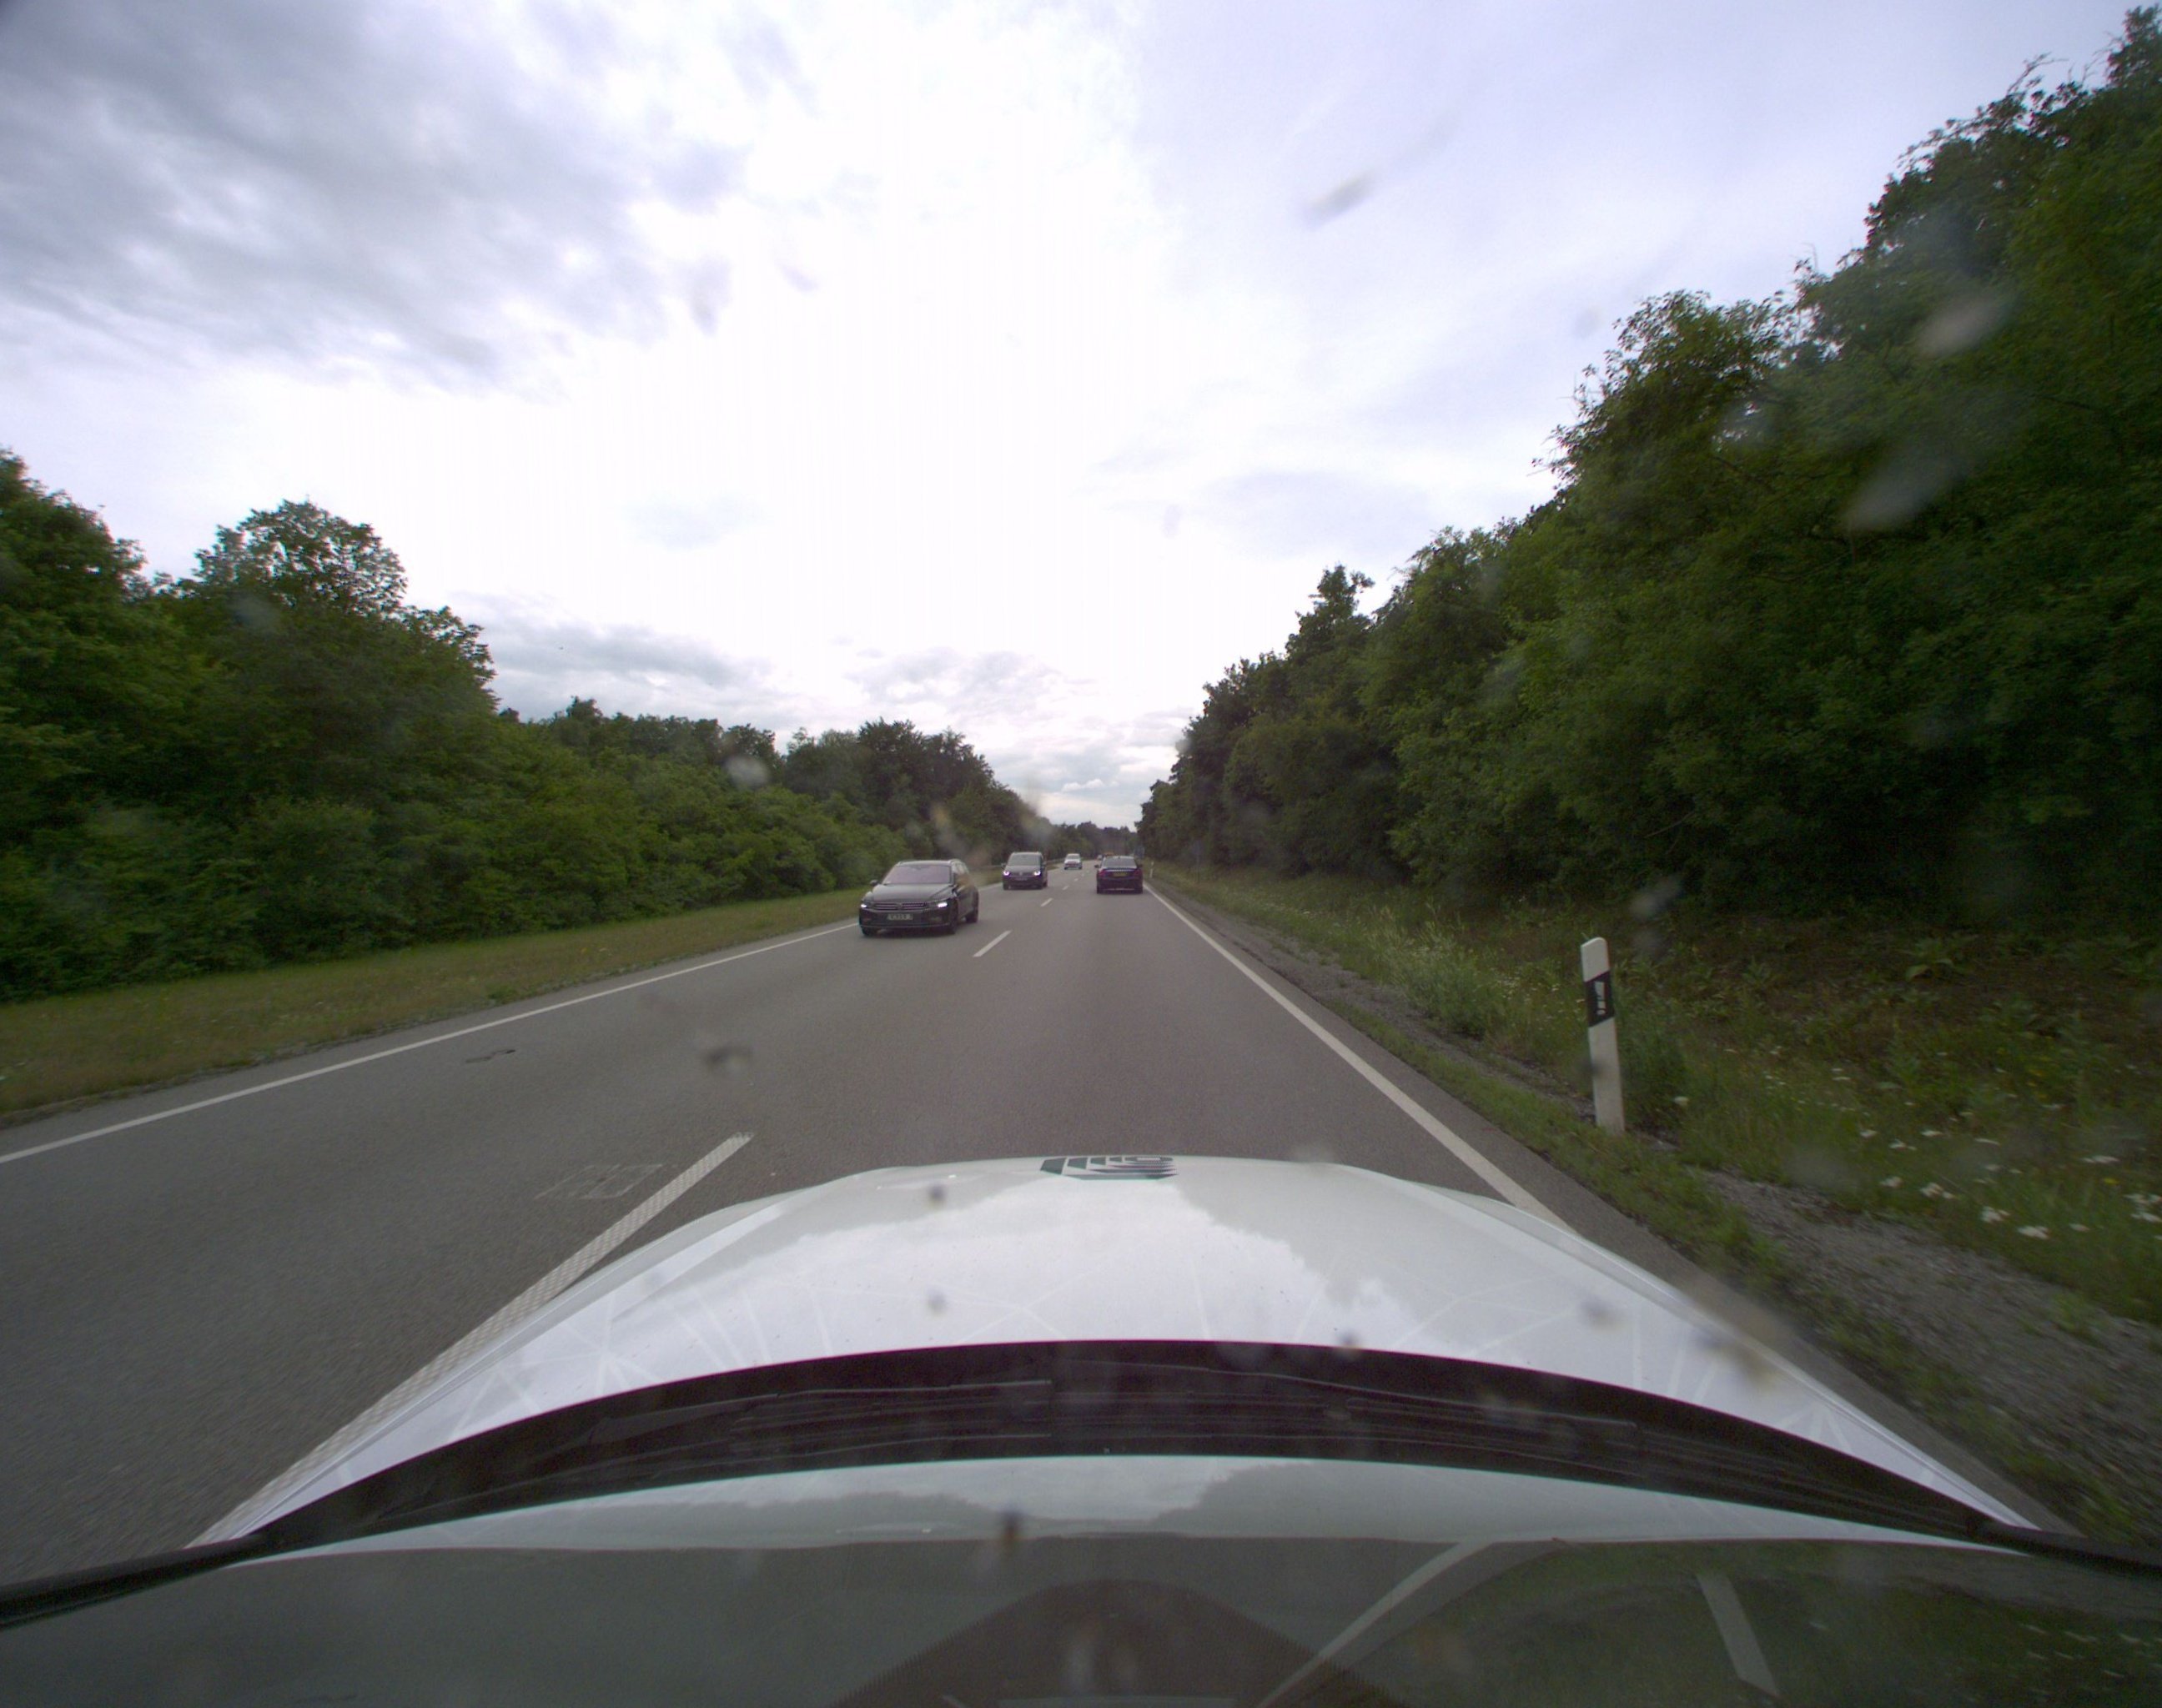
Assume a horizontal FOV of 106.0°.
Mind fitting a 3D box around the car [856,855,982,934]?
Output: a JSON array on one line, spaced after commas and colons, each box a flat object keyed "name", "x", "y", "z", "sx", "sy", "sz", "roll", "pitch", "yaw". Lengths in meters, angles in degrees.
[{"name": "car", "x": -3.322, "y": 0.774, "z": 17.571, "sx": 1.682, "sy": 1.479, "sz": 4.457, "roll": 0, "pitch": 0, "yaw": 2}]

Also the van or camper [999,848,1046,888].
[{"name": "van or camper", "x": -2.699, "y": 0.636, "z": 38.433, "sx": 1.988, "sy": 1.783, "sz": 4.419, "roll": 0, "pitch": 0, "yaw": -2}]

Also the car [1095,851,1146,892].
[{"name": "car", "x": 1.523, "y": 0.687, "z": 32.973, "sx": 1.786, "sy": 1.552, "sz": 3.998, "roll": 0, "pitch": 0, "yaw": -1}]

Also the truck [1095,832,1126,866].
[{"name": "truck", "x": 3.443, "y": -0.481, "z": 93.005, "sx": 3.268, "sy": 3.611, "sz": 11.407, "roll": 0, "pitch": 0, "yaw": 3}]

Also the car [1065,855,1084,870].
[{"name": "car", "x": -0.702, "y": 0.939, "z": 89.215, "sx": 1.868, "sy": 1.559, "sz": 3.756, "roll": 0, "pitch": 0, "yaw": 2}]

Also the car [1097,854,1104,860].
[{"name": "car", "x": 5.187, "y": 0.863, "z": 215.168, "sx": 1.802, "sy": 1.442, "sz": 4.447, "roll": 0, "pitch": 0, "yaw": 1}]
